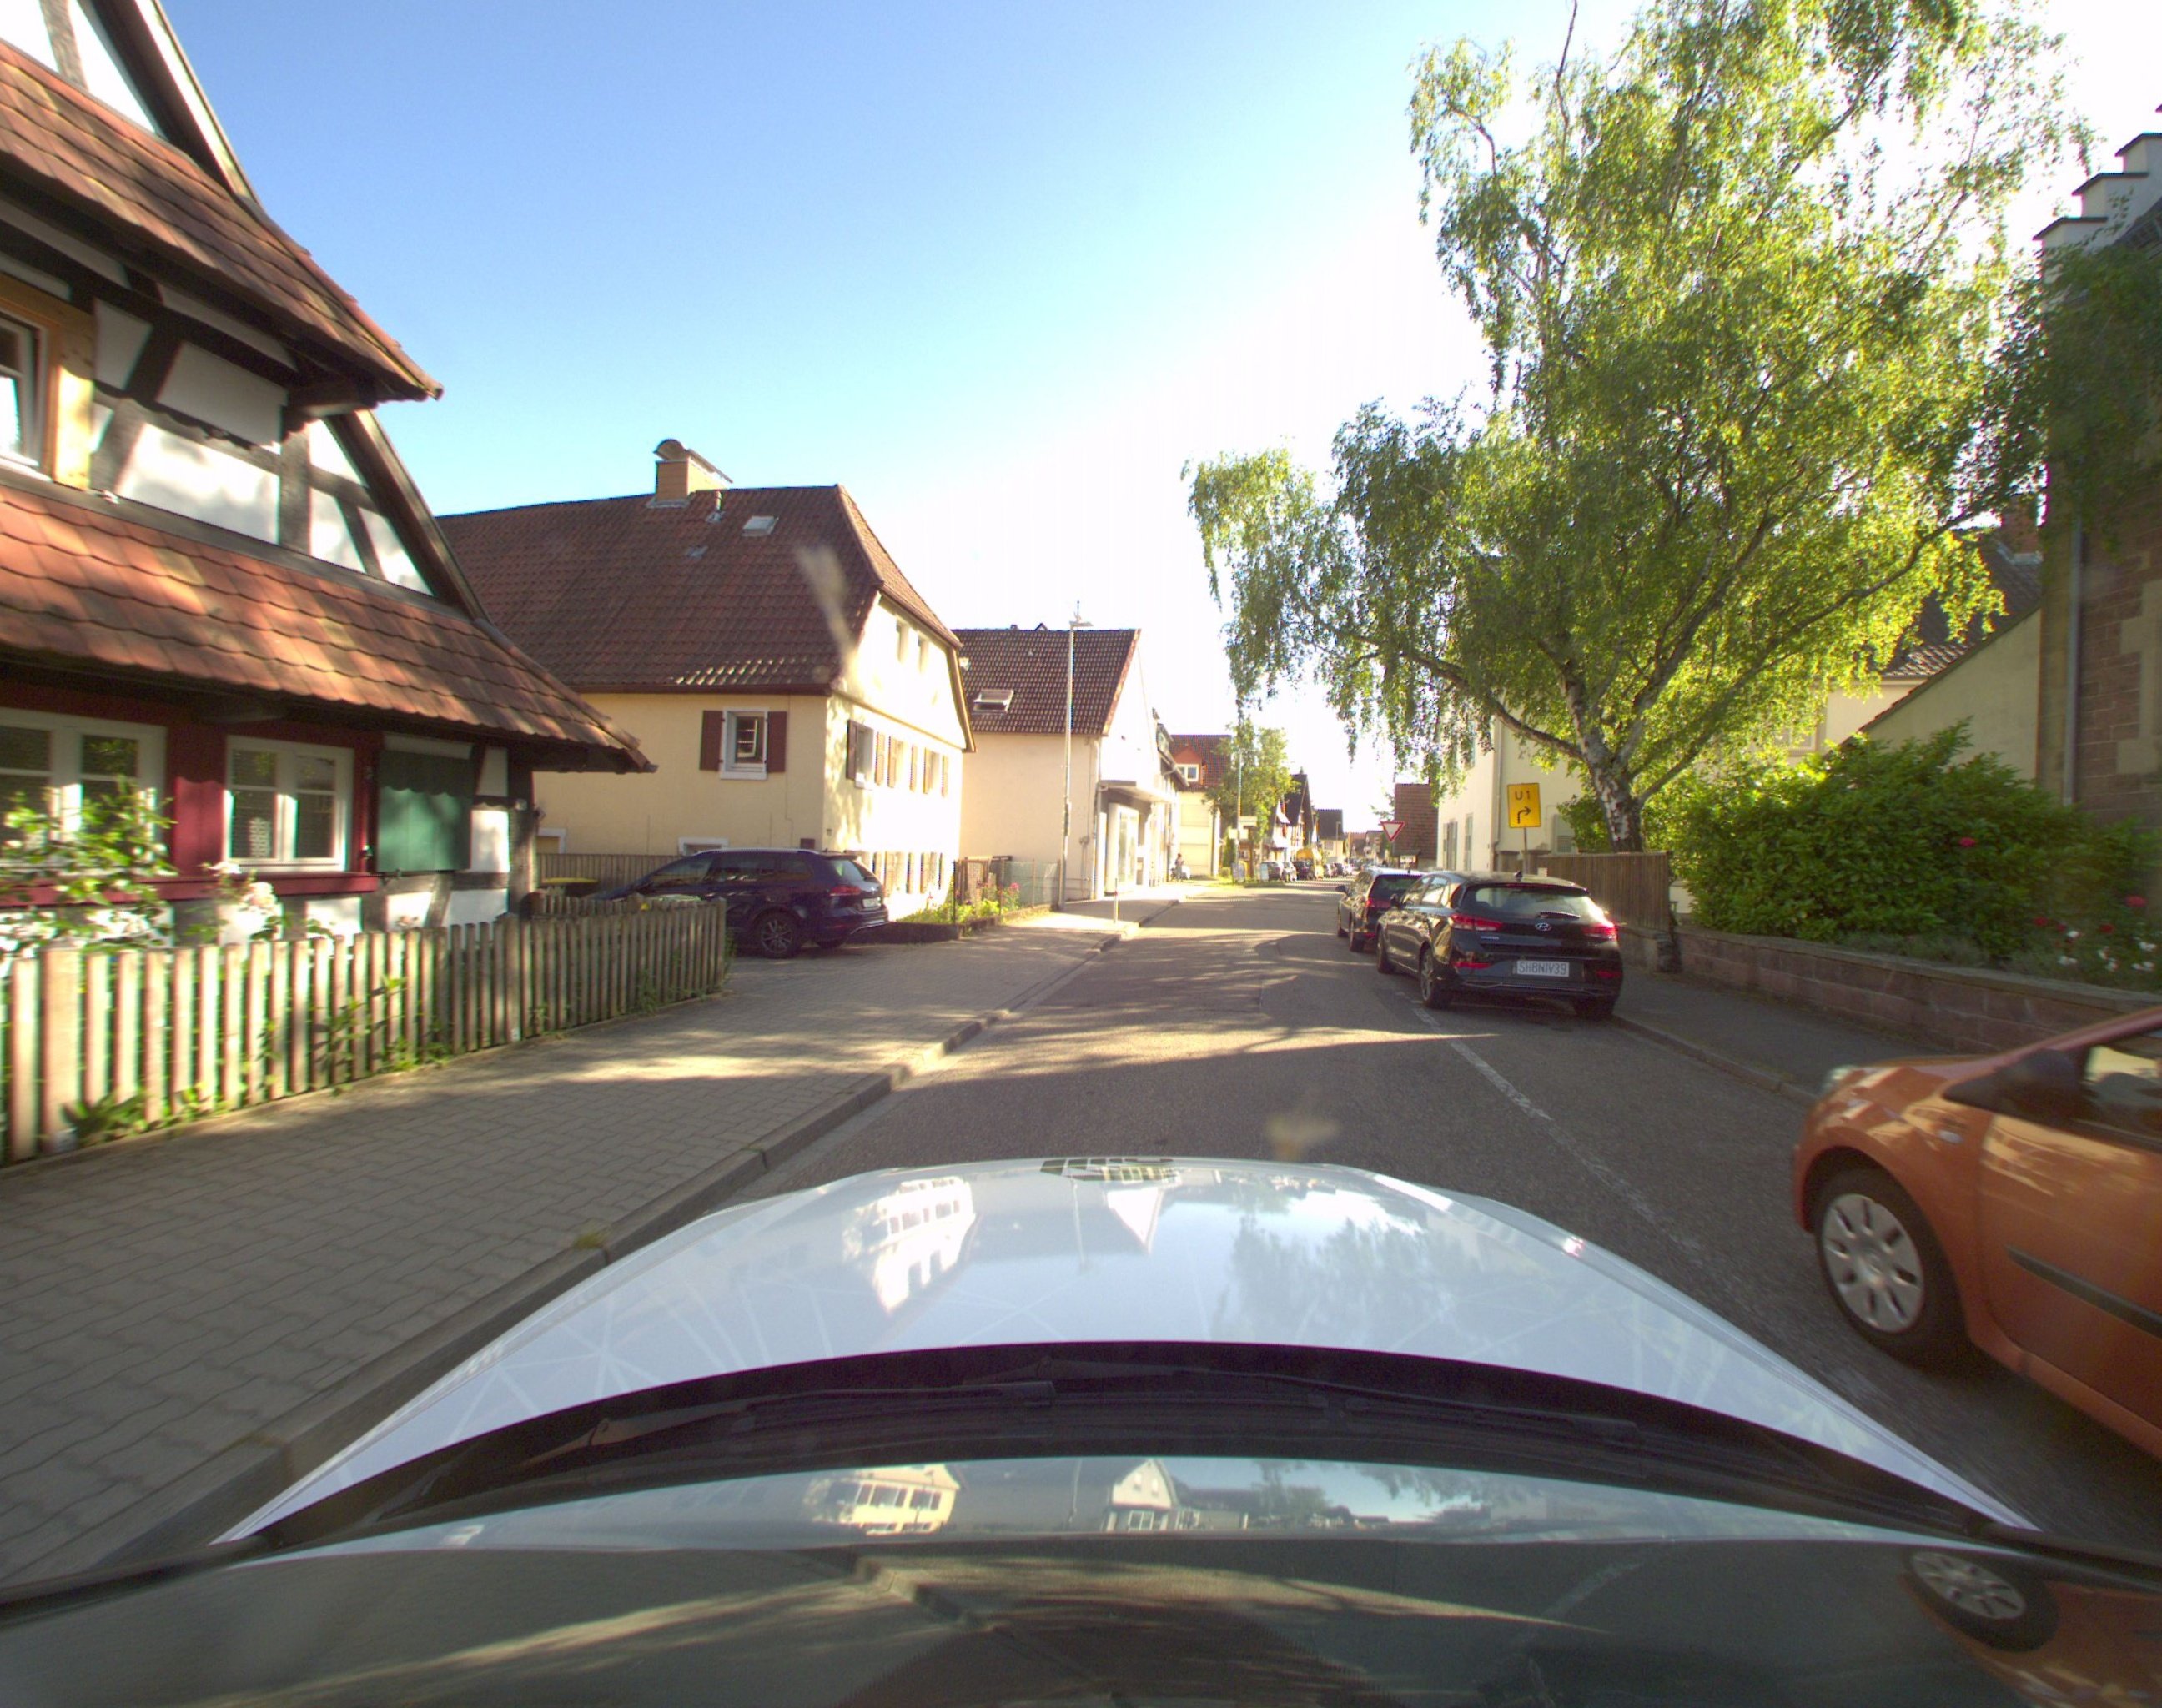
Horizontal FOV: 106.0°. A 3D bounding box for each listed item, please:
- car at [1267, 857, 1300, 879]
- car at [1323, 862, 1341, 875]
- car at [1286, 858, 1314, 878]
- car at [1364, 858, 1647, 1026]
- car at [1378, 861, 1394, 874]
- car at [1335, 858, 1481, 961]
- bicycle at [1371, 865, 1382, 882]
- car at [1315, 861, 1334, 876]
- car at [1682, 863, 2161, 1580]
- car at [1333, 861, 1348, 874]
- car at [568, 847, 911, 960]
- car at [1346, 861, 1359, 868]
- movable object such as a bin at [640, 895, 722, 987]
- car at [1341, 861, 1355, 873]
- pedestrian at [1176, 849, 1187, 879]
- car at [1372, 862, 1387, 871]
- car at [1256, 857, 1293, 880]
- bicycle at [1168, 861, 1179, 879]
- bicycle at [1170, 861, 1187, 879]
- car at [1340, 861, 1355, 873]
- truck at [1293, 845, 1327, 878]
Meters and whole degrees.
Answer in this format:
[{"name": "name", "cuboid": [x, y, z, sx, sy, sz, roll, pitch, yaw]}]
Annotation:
[{"name": "car", "cuboid": [15.254, 1.067, 61.139, 1.791, 1.505, 4.129, 2, 0, 23]}, {"name": "car", "cuboid": [26.841, 1.547, 87.013, 1.575, 1.336, 3.632, 2, 0, 20]}, {"name": "car", "cuboid": [18.693, 1.176, 69.437, 1.791, 1.622, 3.901, 2, -1, 23]}, {"name": "car", "cuboid": [4.718, 0.829, 9.805, 1.796, 1.436, 4.298, 2, 1, 10]}, {"name": "car", "cuboid": [43.556, 1.868, 116.256, 1.957, 1.714, 4.014, 2, 0, 20]}, {"name": "car", "cuboid": [5.596, 0.844, 14.449, 1.794, 1.436, 4.302, 2, 1, 14]}, {"name": "bicycle", "cuboid": [20.491, 1.328, 56.467, 0.429, 1.176, 1.840, 2, 0, 30]}, {"name": "car", "cuboid": [24.778, 1.455, 82.816, 1.632, 1.432, 3.632, 2, 0, 20]}, {"name": "car", "cuboid": [3.086, 0.820, 1.457, 1.638, 1.478, 3.945, 2, 1, 10]}, {"name": "car", "cuboid": [30.289, 1.587, 95.003, 1.575, 1.442, 3.632, 2, 0, 20]}, {"name": "car", "cuboid": [-4.770, 0.648, 11.696, 4.135, 1.462, 1.852, 0, 0, 7]}, {"name": "car", "cuboid": [61.010, 2.370, 183.024, 1.962, 1.583, 4.004, 2, 0, 8]}, {"name": "movable object such as a bin", "cuboid": [-4.221, 0.897, 8.603, 0.578, 0.898, 0.559, -1, -1, 32]}, {"name": "car", "cuboid": [34.837, 1.688, 106.094, 1.575, 1.442, 3.632, 2, 0, 20]}, {"name": "pedestrian", "cuboid": [5.787, 0.585, 46.753, 0.479, 1.693, 0.559, 2, -2, 18]}, {"name": "car", "cuboid": [57.484, 2.439, 156.890, 1.962, 1.583, 4.004, 2, 0, 8]}, {"name": "car", "cuboid": [13.572, 1.010, 57.057, 1.851, 1.506, 4.129, 2, -1, 23]}, {"name": "bicycle", "cuboid": [5.329, 0.918, 46.691, 0.420, 1.052, 1.386, 2, -1, 14]}, {"name": "bicycle", "cuboid": [6.009, 0.969, 50.053, 0.573, 1.052, 2.046, 1, -1, 21]}, {"name": "car", "cuboid": [33.260, 1.613, 101.695, 1.575, 1.442, 3.632, 2, 0, 20]}, {"name": "truck", "cuboid": [21.022, 0.686, 74.580, 2.248, 2.868, 5.813, 2, -1, 23]}]
